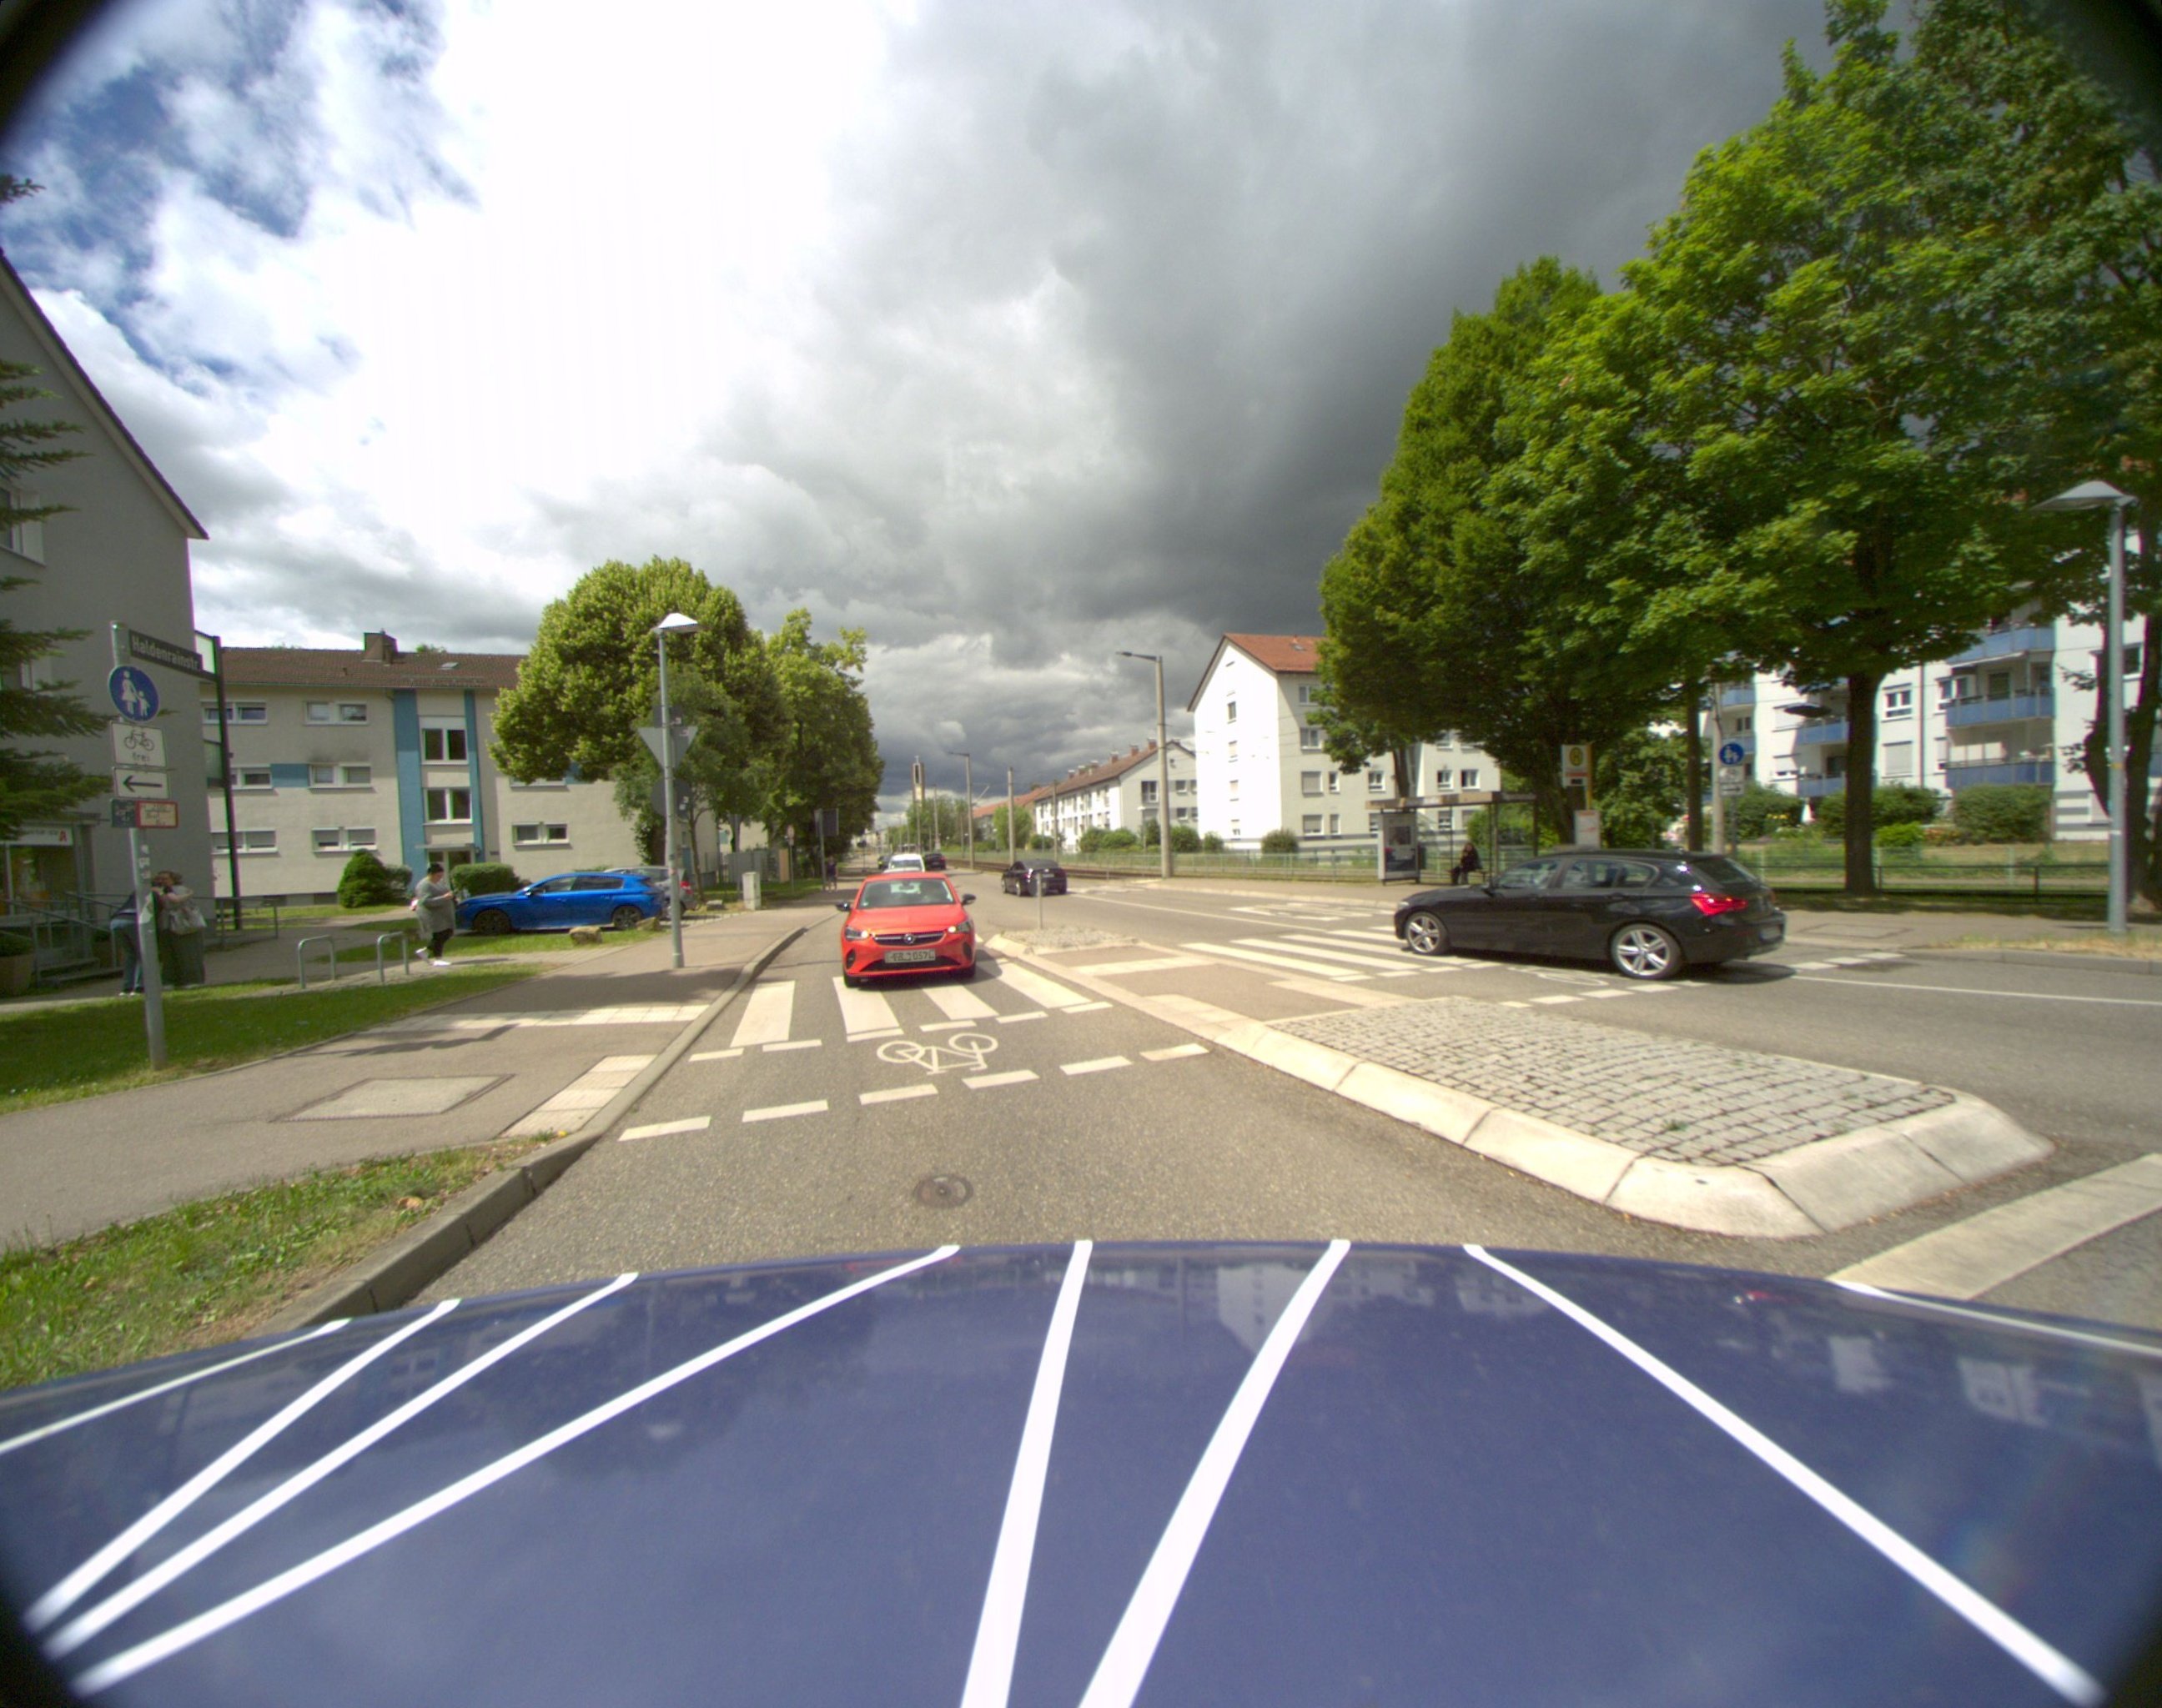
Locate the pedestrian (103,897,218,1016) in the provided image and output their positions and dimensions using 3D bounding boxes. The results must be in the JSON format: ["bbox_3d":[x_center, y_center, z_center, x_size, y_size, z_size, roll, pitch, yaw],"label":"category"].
[{"bbox_3d":[-12.815,1.402,10.611,0.745,1.521,0.690,-2,1,-24],"label":"pedestrian"}]

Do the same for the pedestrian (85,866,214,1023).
[{"bbox_3d":[-12.756,1.190,10.449,0.656,2.002,1.044,-2,1,-24],"label":"pedestrian"}]

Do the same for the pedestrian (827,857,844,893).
[{"bbox_3d":[-11.515,0.957,35.613,0.685,1.651,0.830,-2,1,-21],"label":"pedestrian"}]

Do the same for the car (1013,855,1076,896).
[{"bbox_3d":[-1.511,0.790,29.727,1.824,1.376,4.613,-1,1,-10],"label":"car"}]

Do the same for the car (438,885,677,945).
[{"bbox_3d":[-12.516,1.423,18.586,4.503,1.236,1.996,1,0,-24],"label":"car"}]

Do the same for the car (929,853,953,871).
[{"bbox_3d":[-12.782,0.687,69.079,2.000,1.517,4.519,-1,1,-12],"label":"car"}]

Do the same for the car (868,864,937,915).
[{"bbox_3d":[-5.757,1.098,24.910,1.765,1.390,3.997,-1,1,-7],"label":"car"}]

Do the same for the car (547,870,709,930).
[{"bbox_3d":[-12.912,1.264,21.940,3.745,1.548,2.028,0,0,-23],"label":"car"}]

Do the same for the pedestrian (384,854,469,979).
[{"bbox_3d":[-10.728,0.978,12.499,0.944,1.945,0.840,-2,1,-37],"label":"pedestrian"}]

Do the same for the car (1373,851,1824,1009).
[{"bbox_3d":[6.255,0.761,9.758,1.862,1.447,4.377,-4,2,-32],"label":"car"}]

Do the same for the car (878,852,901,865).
[{"bbox_3d":[-20.675,0.501,82.173,1.919,1.309,3.997,-1,1,-7],"label":"car"}]

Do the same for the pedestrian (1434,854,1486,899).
[{"bbox_3d":[10.108,0.591,20.266,0.801,1.129,0.910,-3,2,-19],"label":"pedestrian"}]

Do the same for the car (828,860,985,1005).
[{"bbox_3d":[-2.518,0.951,11.149,1.767,1.549,3.995,-3,2,-12],"label":"car"}]

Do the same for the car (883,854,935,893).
[{"bbox_3d":[-7.961,0.832,34.976,2.001,1.598,3.994,-2,1,-17],"label":"car"}]
